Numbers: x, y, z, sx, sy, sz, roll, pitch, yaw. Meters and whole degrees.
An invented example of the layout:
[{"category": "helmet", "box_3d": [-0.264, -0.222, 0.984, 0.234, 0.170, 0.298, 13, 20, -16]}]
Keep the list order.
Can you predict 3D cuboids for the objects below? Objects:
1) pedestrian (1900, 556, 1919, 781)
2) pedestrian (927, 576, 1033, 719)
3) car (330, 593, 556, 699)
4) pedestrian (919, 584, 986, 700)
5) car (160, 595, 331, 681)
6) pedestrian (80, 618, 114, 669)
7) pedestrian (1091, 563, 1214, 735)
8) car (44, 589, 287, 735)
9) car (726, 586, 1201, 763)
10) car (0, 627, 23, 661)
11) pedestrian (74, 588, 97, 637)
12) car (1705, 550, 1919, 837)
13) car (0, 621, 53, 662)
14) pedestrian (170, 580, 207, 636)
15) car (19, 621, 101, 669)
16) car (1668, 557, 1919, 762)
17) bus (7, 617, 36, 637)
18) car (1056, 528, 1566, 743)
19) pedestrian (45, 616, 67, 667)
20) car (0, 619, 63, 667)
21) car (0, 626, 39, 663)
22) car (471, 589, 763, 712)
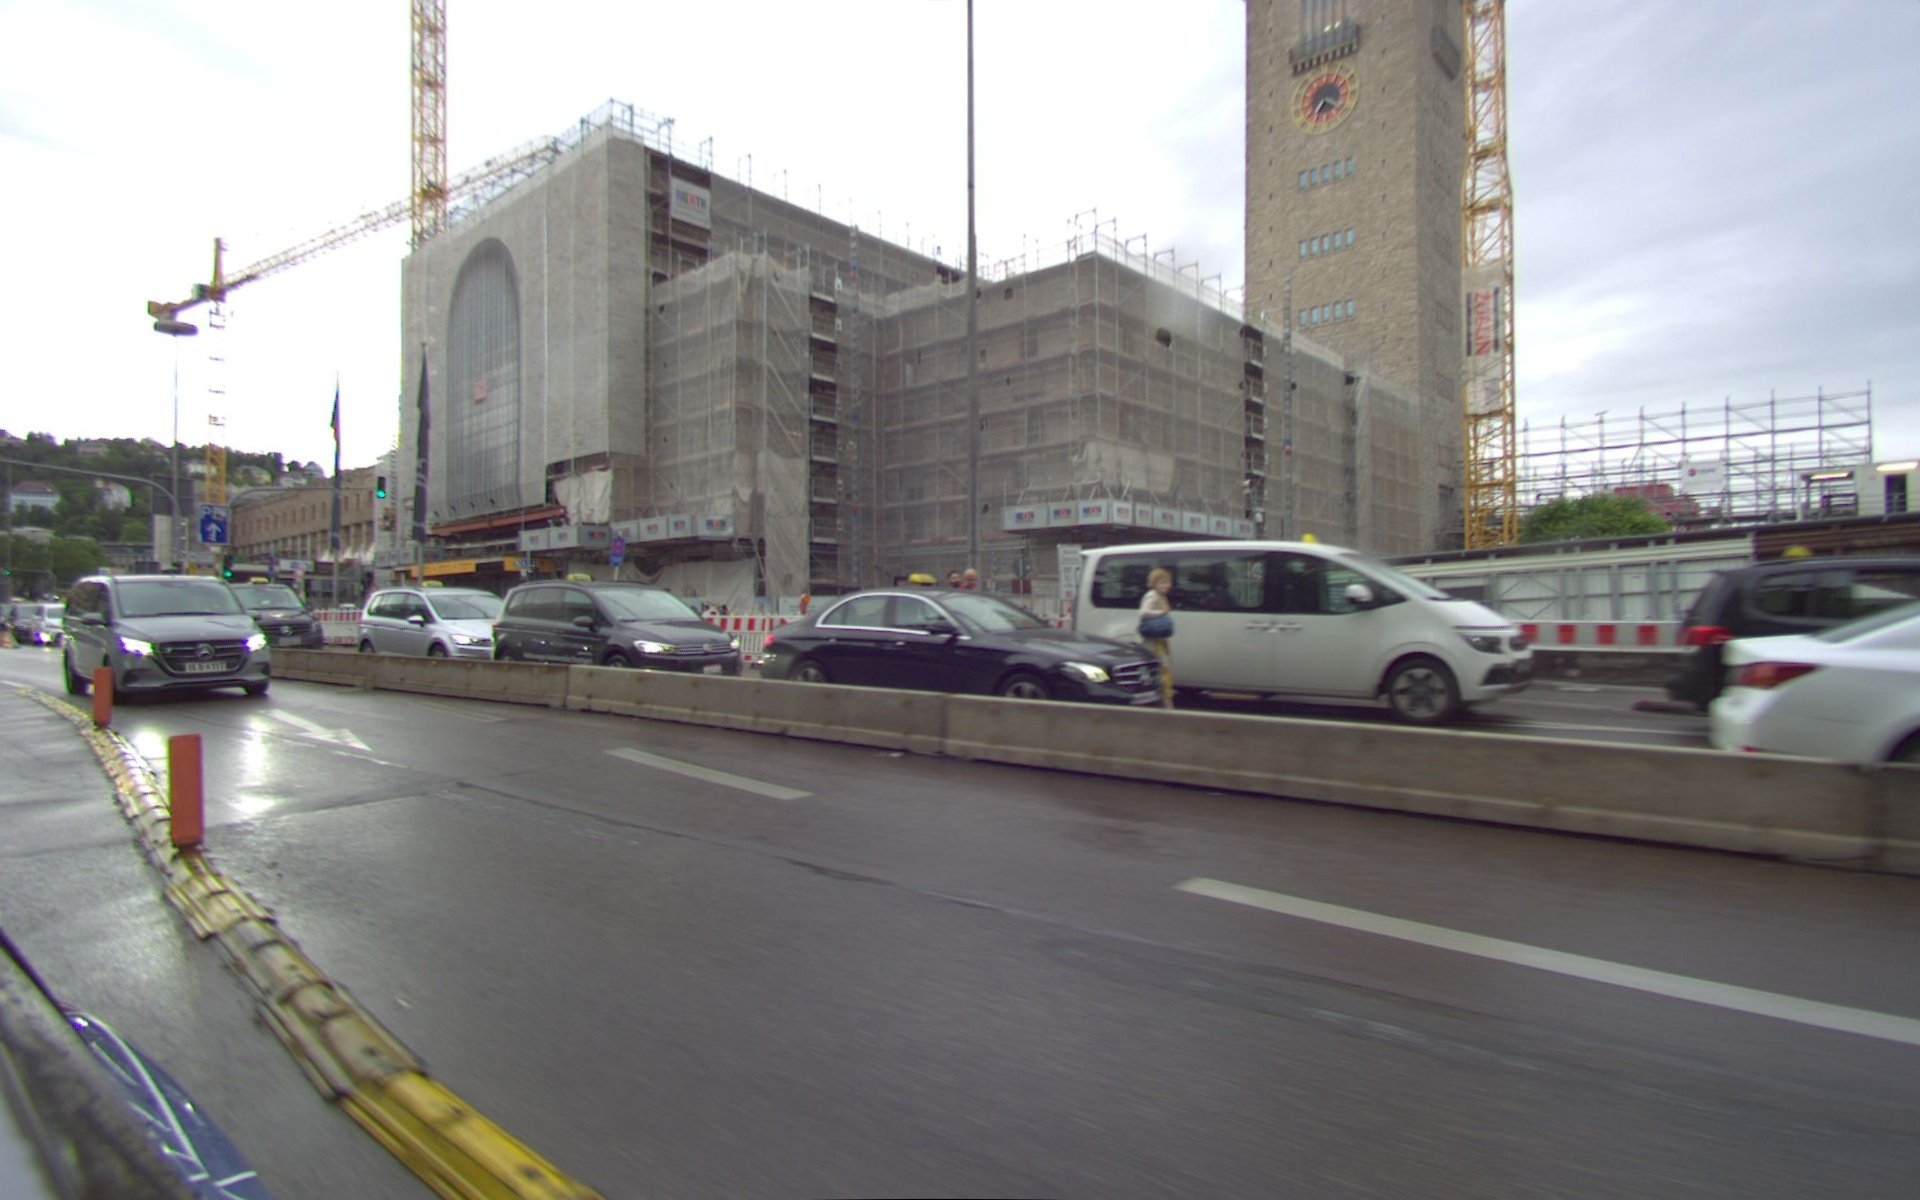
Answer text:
[{"category": "pedestrian", "box_3d": [7.818, 0.503, 7.619, 1.028, 1.695, 0.824, -2, -2, 43]}, {"category": "pedestrian", "box_3d": [0.256, 0.574, 12.658, 0.836, 1.688, 1.013, -2, -2, 43]}, {"category": "car", "box_3d": [-9.523, 0.776, 18.493, 4.766, 1.709, 1.807, -1, 0, 37]}, {"category": "pedestrian", "box_3d": [-0.121, 0.637, 15.867, 0.822, 1.766, 0.627, -1, -1, 44]}, {"category": "car", "box_3d": [-17.318, 0.864, 24.439, 5.054, 1.859, 1.975, -1, 0, 37]}, {"category": "pedestrian", "box_3d": [-35.370, 1.773, 41.495, 0.821, 2.029, 1.031, 0, -2, -24]}, {"category": "pedestrian", "box_3d": [2.139, 0.531, 11.259, 1.028, 1.797, 0.824, -2, -2, 43]}, {"category": "car", "box_3d": [-12.624, 0.882, 15.932, 5.246, 1.918, 1.973, -2, 0, 40]}, {"category": "car", "box_3d": [-0.133, 0.674, 10.997, 4.997, 1.522, 1.954, -1, 0, 37]}, {"category": "car", "box_3d": [-51.513, 2.322, 53.667, 5.051, 1.724, 2.028, -2, -2, 40]}, {"category": "pedestrian", "box_3d": [-36.415, 0.535, 42.149, 0.835, 2.029, 0.615, -2, -2, 40]}, {"category": "car", "box_3d": [7.059, 0.519, 5.451, 4.868, 1.579, 1.975, -1, -3, 37]}, {"category": "car", "box_3d": [-43.098, 1.879, 46.117, 4.844, 1.800, 1.973, -2, -2, 40]}, {"category": "pedestrian", "box_3d": [-26.741, 0.285, 35.094, 0.689, 1.901, 0.824, -2, -2, 31]}, {"category": "car", "box_3d": [-34.168, 1.677, 38.378, 4.664, 1.698, 1.767, -2, -2, 41]}, {"category": "car", "box_3d": [8.506, 0.464, 8.583, 4.047, 1.642, 1.699, -2, -1, 36]}, {"category": "bus", "box_3d": [-168.759, 4.895, 181.908, 19.084, 3.605, 2.877, -2, -3, 45]}, {"category": "car", "box_3d": [3.954, 0.373, 11.982, 5.359, 2.029, 1.976, -1, 0, 36]}, {"category": "pedestrian", "box_3d": [-36.877, 1.696, 41.281, 0.890, 2.029, 0.522, -2, -2, 39]}, {"category": "car", "box_3d": [-39.210, 1.768, 42.506, 4.607, 1.906, 1.696, -2, -2, 41]}, {"category": "car", "box_3d": [-47.614, 2.201, 50.414, 4.450, 1.800, 1.974, -2, -2, 40]}, {"category": "car", "box_3d": [-5.046, 0.654, 14.611, 4.483, 1.522, 1.807, -1, 0, 37]}]
